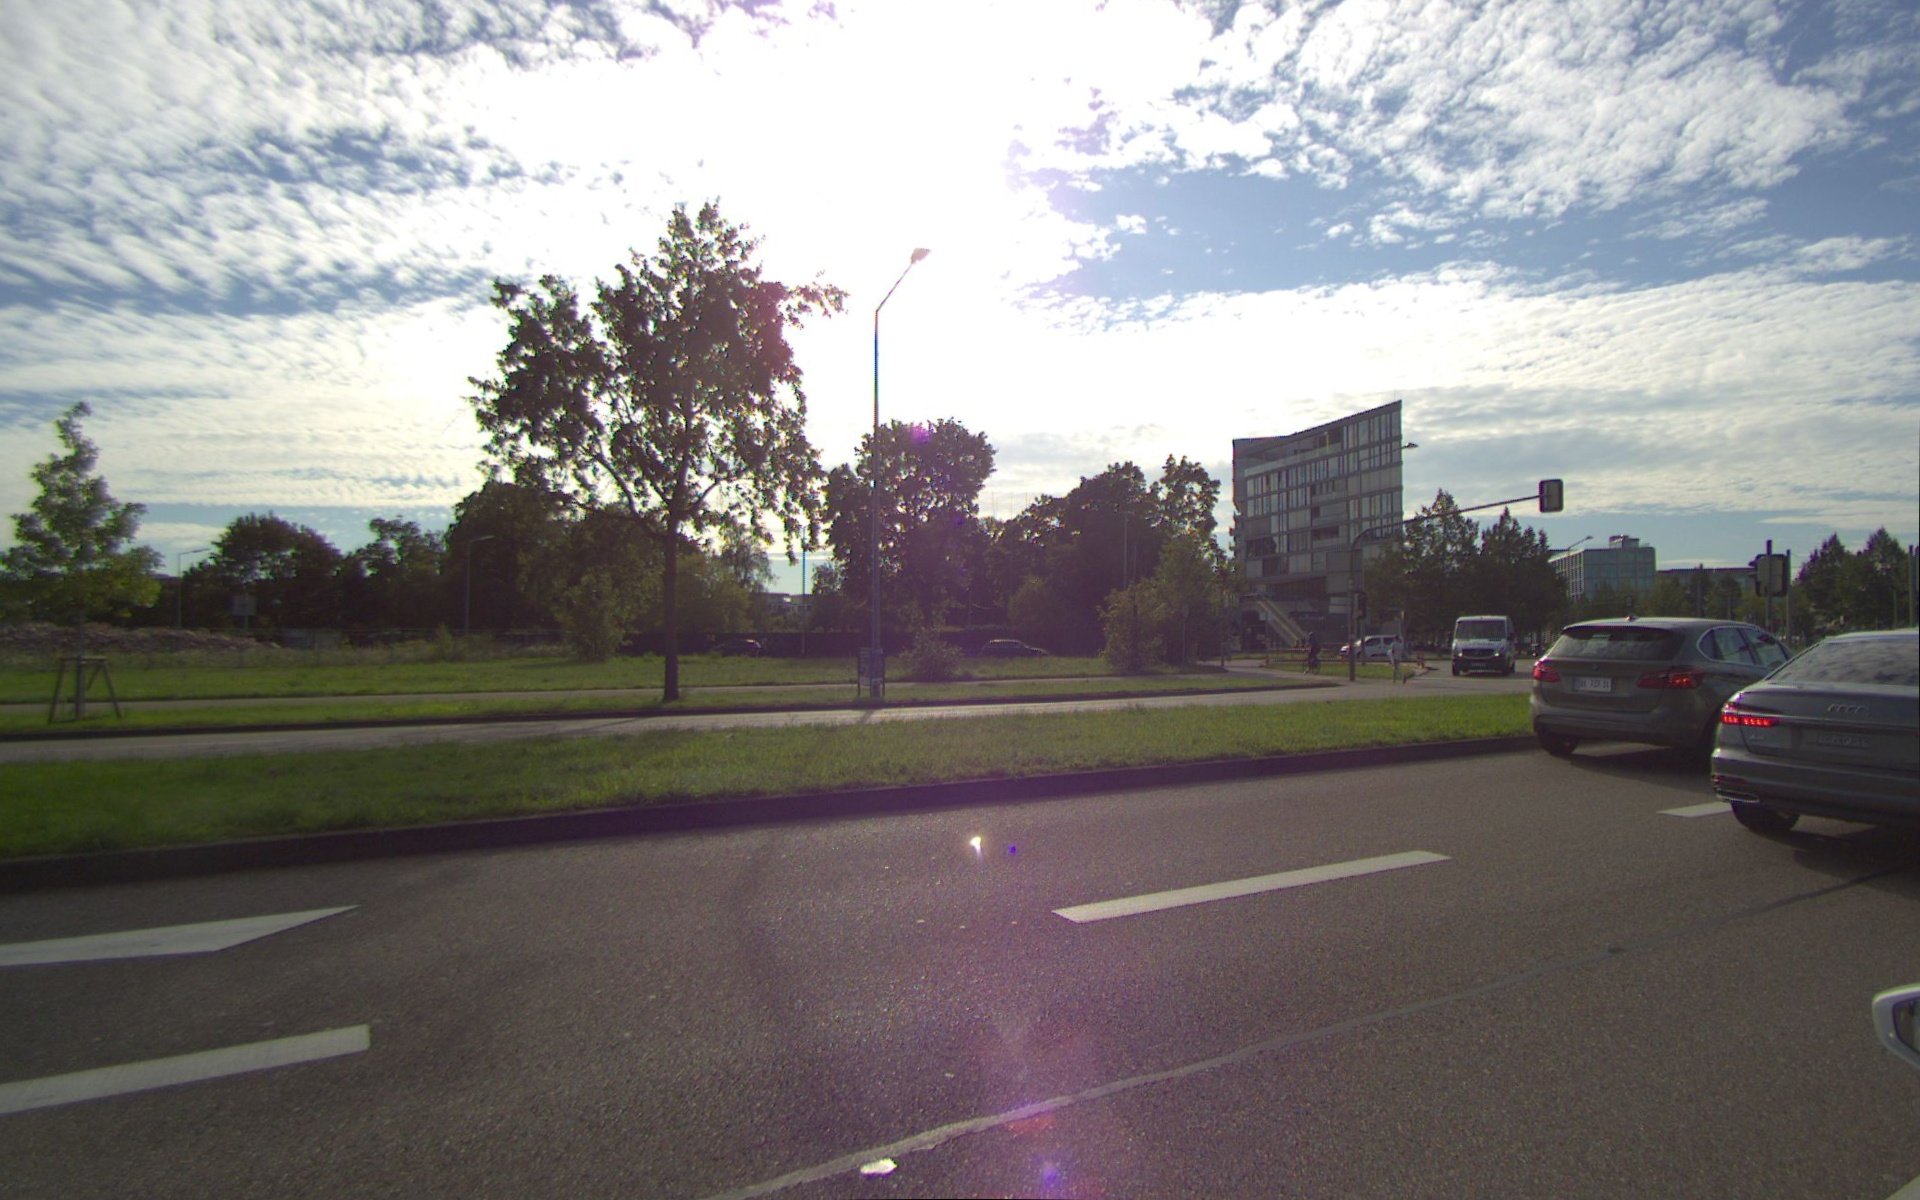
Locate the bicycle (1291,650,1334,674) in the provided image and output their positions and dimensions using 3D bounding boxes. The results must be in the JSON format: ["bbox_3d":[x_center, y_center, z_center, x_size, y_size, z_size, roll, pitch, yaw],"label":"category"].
[{"bbox_3d":[14.987,2.643,42.763,0.638,0.979,1.664,3,-3,-34],"label":"bicycle"}]

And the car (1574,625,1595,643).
[{"bbox_3d":[58.333,3.215,93.801,1.570,1.433,3.662,-3,-6,33],"label":"car"}]

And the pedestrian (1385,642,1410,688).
[{"bbox_3d":[15.155,2.245,34.785,0.646,1.589,0.613,-1,-2,37],"label":"pedestrian"}]

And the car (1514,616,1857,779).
[{"bbox_3d":[8.341,0.998,11.489,3.971,1.579,1.721,1,-1,-30],"label":"car"}]

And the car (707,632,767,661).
[{"bbox_3d":[-16.954,3.506,76.371,3.919,2.040,2.001,2,-1,13],"label":"car"}]

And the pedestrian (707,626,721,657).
[{"bbox_3d":[-16.021,2.710,65.414,0.723,2.040,0.739,0,-2,-6],"label":"pedestrian"}]

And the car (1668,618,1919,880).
[{"bbox_3d":[7.316,0.924,7.283,4.559,1.502,1.881,2,-1,-31],"label":"car"}]

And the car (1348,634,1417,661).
[{"bbox_3d":[29.128,3.274,69.315,4.045,1.770,2.002,-1,-2,10],"label":"car"}]

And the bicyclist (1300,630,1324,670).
[{"bbox_3d":[14.978,2.121,42.801,0.544,1.690,0.783,1,-3,-34],"label":"bicyclist"}]

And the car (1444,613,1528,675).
[{"bbox_3d":[20.922,1.782,39.826,1.968,2.264,5.903,-3,-4,37],"label":"car"}]

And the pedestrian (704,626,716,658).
[{"bbox_3d":[-16.079,2.672,64.563,0.675,2.040,0.641,0,-2,-5],"label":"pedestrian"}]

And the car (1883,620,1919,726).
[{"bbox_3d":[16.289,1.121,15.676,3.831,1.585,1.713,1,0,-30],"label":"car"}]
